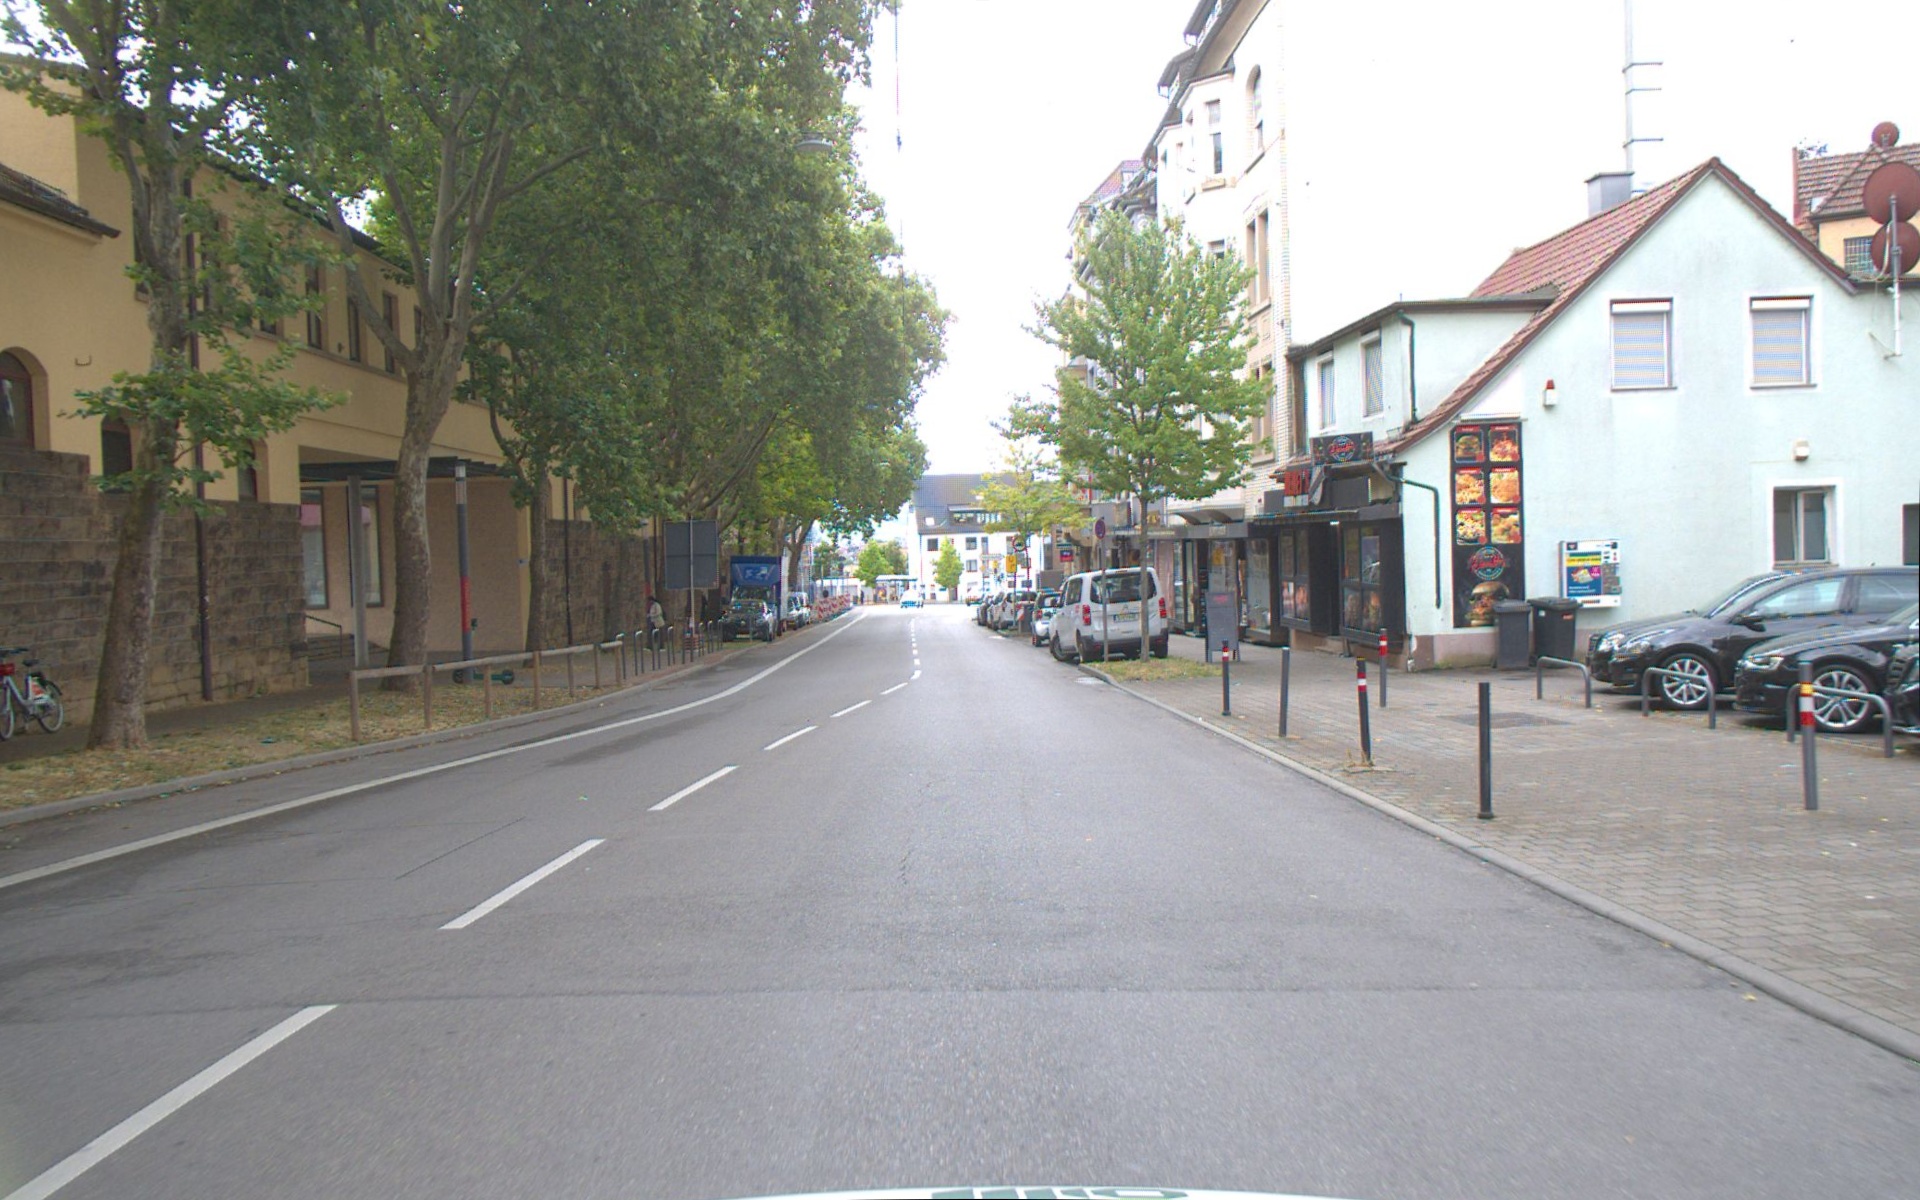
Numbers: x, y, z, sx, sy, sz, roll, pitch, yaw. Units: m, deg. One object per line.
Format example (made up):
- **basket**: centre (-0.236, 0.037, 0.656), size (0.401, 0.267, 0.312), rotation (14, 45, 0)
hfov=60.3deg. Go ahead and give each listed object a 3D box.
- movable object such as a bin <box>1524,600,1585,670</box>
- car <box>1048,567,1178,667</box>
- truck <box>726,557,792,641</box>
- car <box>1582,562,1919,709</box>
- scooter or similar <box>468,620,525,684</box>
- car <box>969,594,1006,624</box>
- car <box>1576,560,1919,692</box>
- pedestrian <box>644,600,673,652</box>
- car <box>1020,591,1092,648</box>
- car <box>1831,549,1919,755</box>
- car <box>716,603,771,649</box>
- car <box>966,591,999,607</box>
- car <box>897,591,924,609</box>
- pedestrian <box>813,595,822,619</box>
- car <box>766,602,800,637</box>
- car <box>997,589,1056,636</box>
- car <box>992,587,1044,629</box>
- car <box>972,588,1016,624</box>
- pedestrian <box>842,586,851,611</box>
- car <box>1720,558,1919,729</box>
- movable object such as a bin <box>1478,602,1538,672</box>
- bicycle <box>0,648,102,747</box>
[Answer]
- **movable object such as a bin**: centre (9.288, 0.537, 25.857), size (0.684, 1.059, 0.645), rotation (-2, 0, 0)
- **car**: centre (3.242, 0.334, 36.048), size (1.954, 1.969, 4.914), rotation (-2, 0, -4)
- **truck**: centre (-8.624, -0.052, 71.642), size (2.186, 3.405, 7.446), rotation (-2, 0, -3)
- **car**: centre (9.422, 0.367, 18.018), size (4.805, 1.495, 1.928), rotation (-2, 0, 25)
- **scooter or similar**: centre (-9.123, 1.024, 32.586), size (1.010, 1.205, 0.490), rotation (-2, 0, -11)
- **car**: centre (1.466, 0.477, 89.598), size (1.636, 1.574, 3.753), rotation (-2, 0, -4)
- **car**: centre (10.222, 0.305, 20.431), size (4.800, 1.495, 1.930), rotation (-2, 0, 19)
- **pedestrian**: centre (-9.232, 0.781, 50.599), size (0.667, 1.563, 0.603), rotation (-2, 0, -35)
- **car**: centre (2.820, 0.553, 49.251), size (1.636, 1.574, 3.753), rotation (-2, 0, -4)
- **car**: centre (9.413, 0.330, 12.623), size (4.807, 1.567, 1.998), rotation (-2, 0, 27)
- **car**: centre (-8.110, 0.937, 62.258), size (1.798, 1.605, 3.753), rotation (-2, 0, -5)
- **car**: centre (2.199, -0.142, 160.743), size (1.644, 1.449, 4.171), rotation (-2, 0, 26)
- **car**: centre (-4.209, -0.004, 141.638), size (1.825, 1.515, 3.882), rotation (-2, 0, 5)
- **pedestrian**: centre (-12.179, 0.556, 141.365), size (0.620, 2.029, 0.784), rotation (-2, 0, 0)
- **car**: centre (-8.864, 0.949, 82.968), size (1.503, 1.667, 3.715), rotation (-2, 0, -4)
- **car**: centre (2.360, 0.416, 59.339), size (1.636, 1.574, 3.753), rotation (-2, 0, -4)
- **car**: centre (2.273, 0.291, 65.728), size (1.636, 1.574, 3.753), rotation (-2, 0, -4)
- **car**: centre (1.548, 0.278, 76.769), size (1.636, 1.574, 3.753), rotation (-2, 0, -4)
- **pedestrian**: centre (-9.228, -0.142, 134.761), size (0.620, 2.049, 0.784), rotation (-2, 0, 0)
- **car**: centre (9.686, 0.350, 15.219), size (4.803, 1.519, 1.854), rotation (-2, 0, 24)
- **movable object such as a bin**: centre (8.557, 0.571, 25.841), size (0.684, 1.059, 0.645), rotation (-2, 0, 0)
- **bicycle**: centre (-11.774, 1.213, 21.037), size (0.584, 1.110, 2.195), rotation (0, 0, 0)
